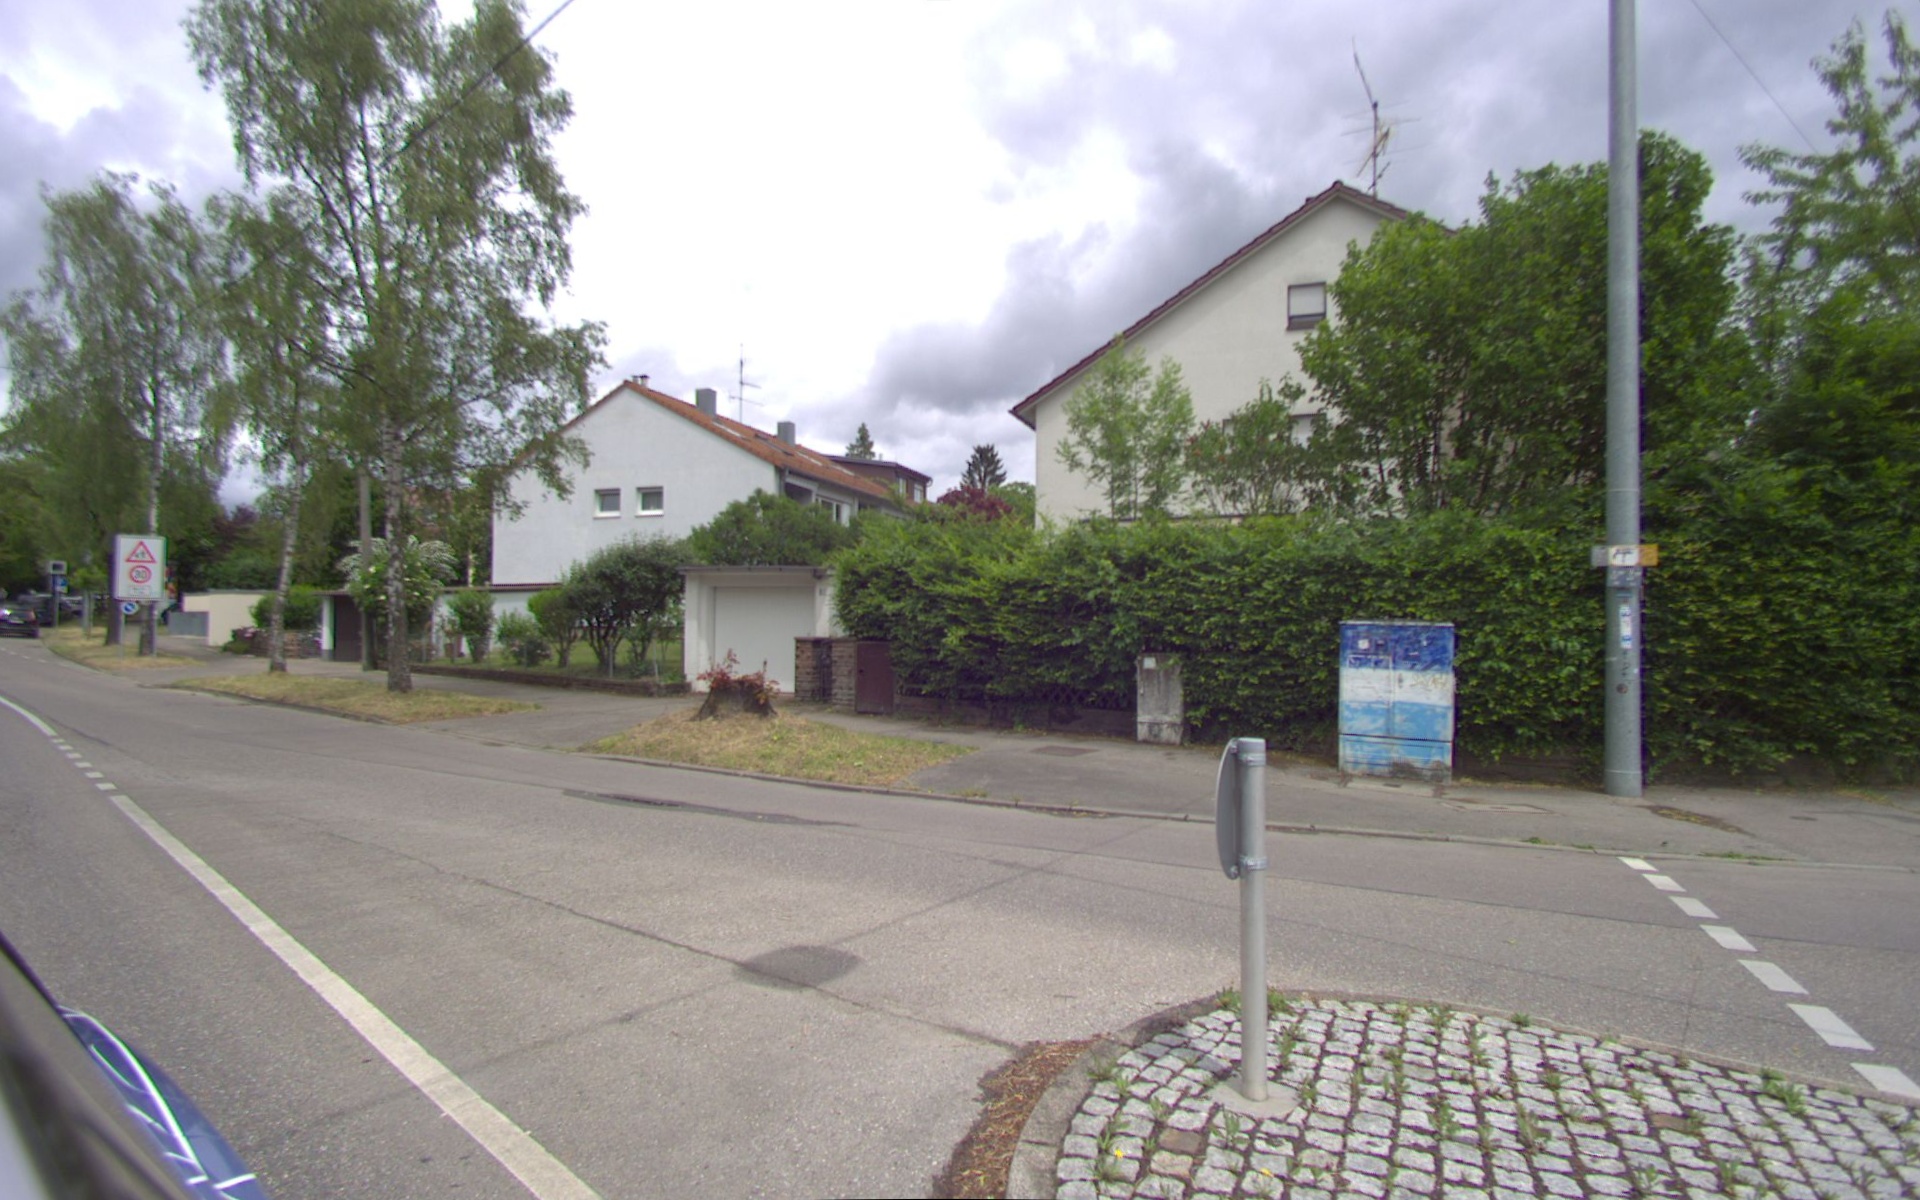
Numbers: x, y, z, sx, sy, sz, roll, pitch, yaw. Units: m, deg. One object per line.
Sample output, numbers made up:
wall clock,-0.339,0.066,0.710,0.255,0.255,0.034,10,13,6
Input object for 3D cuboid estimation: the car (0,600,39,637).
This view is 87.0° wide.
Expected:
car,-47.863,0.896,51.040,1.946,1.621,4.424,5,-2,-43
